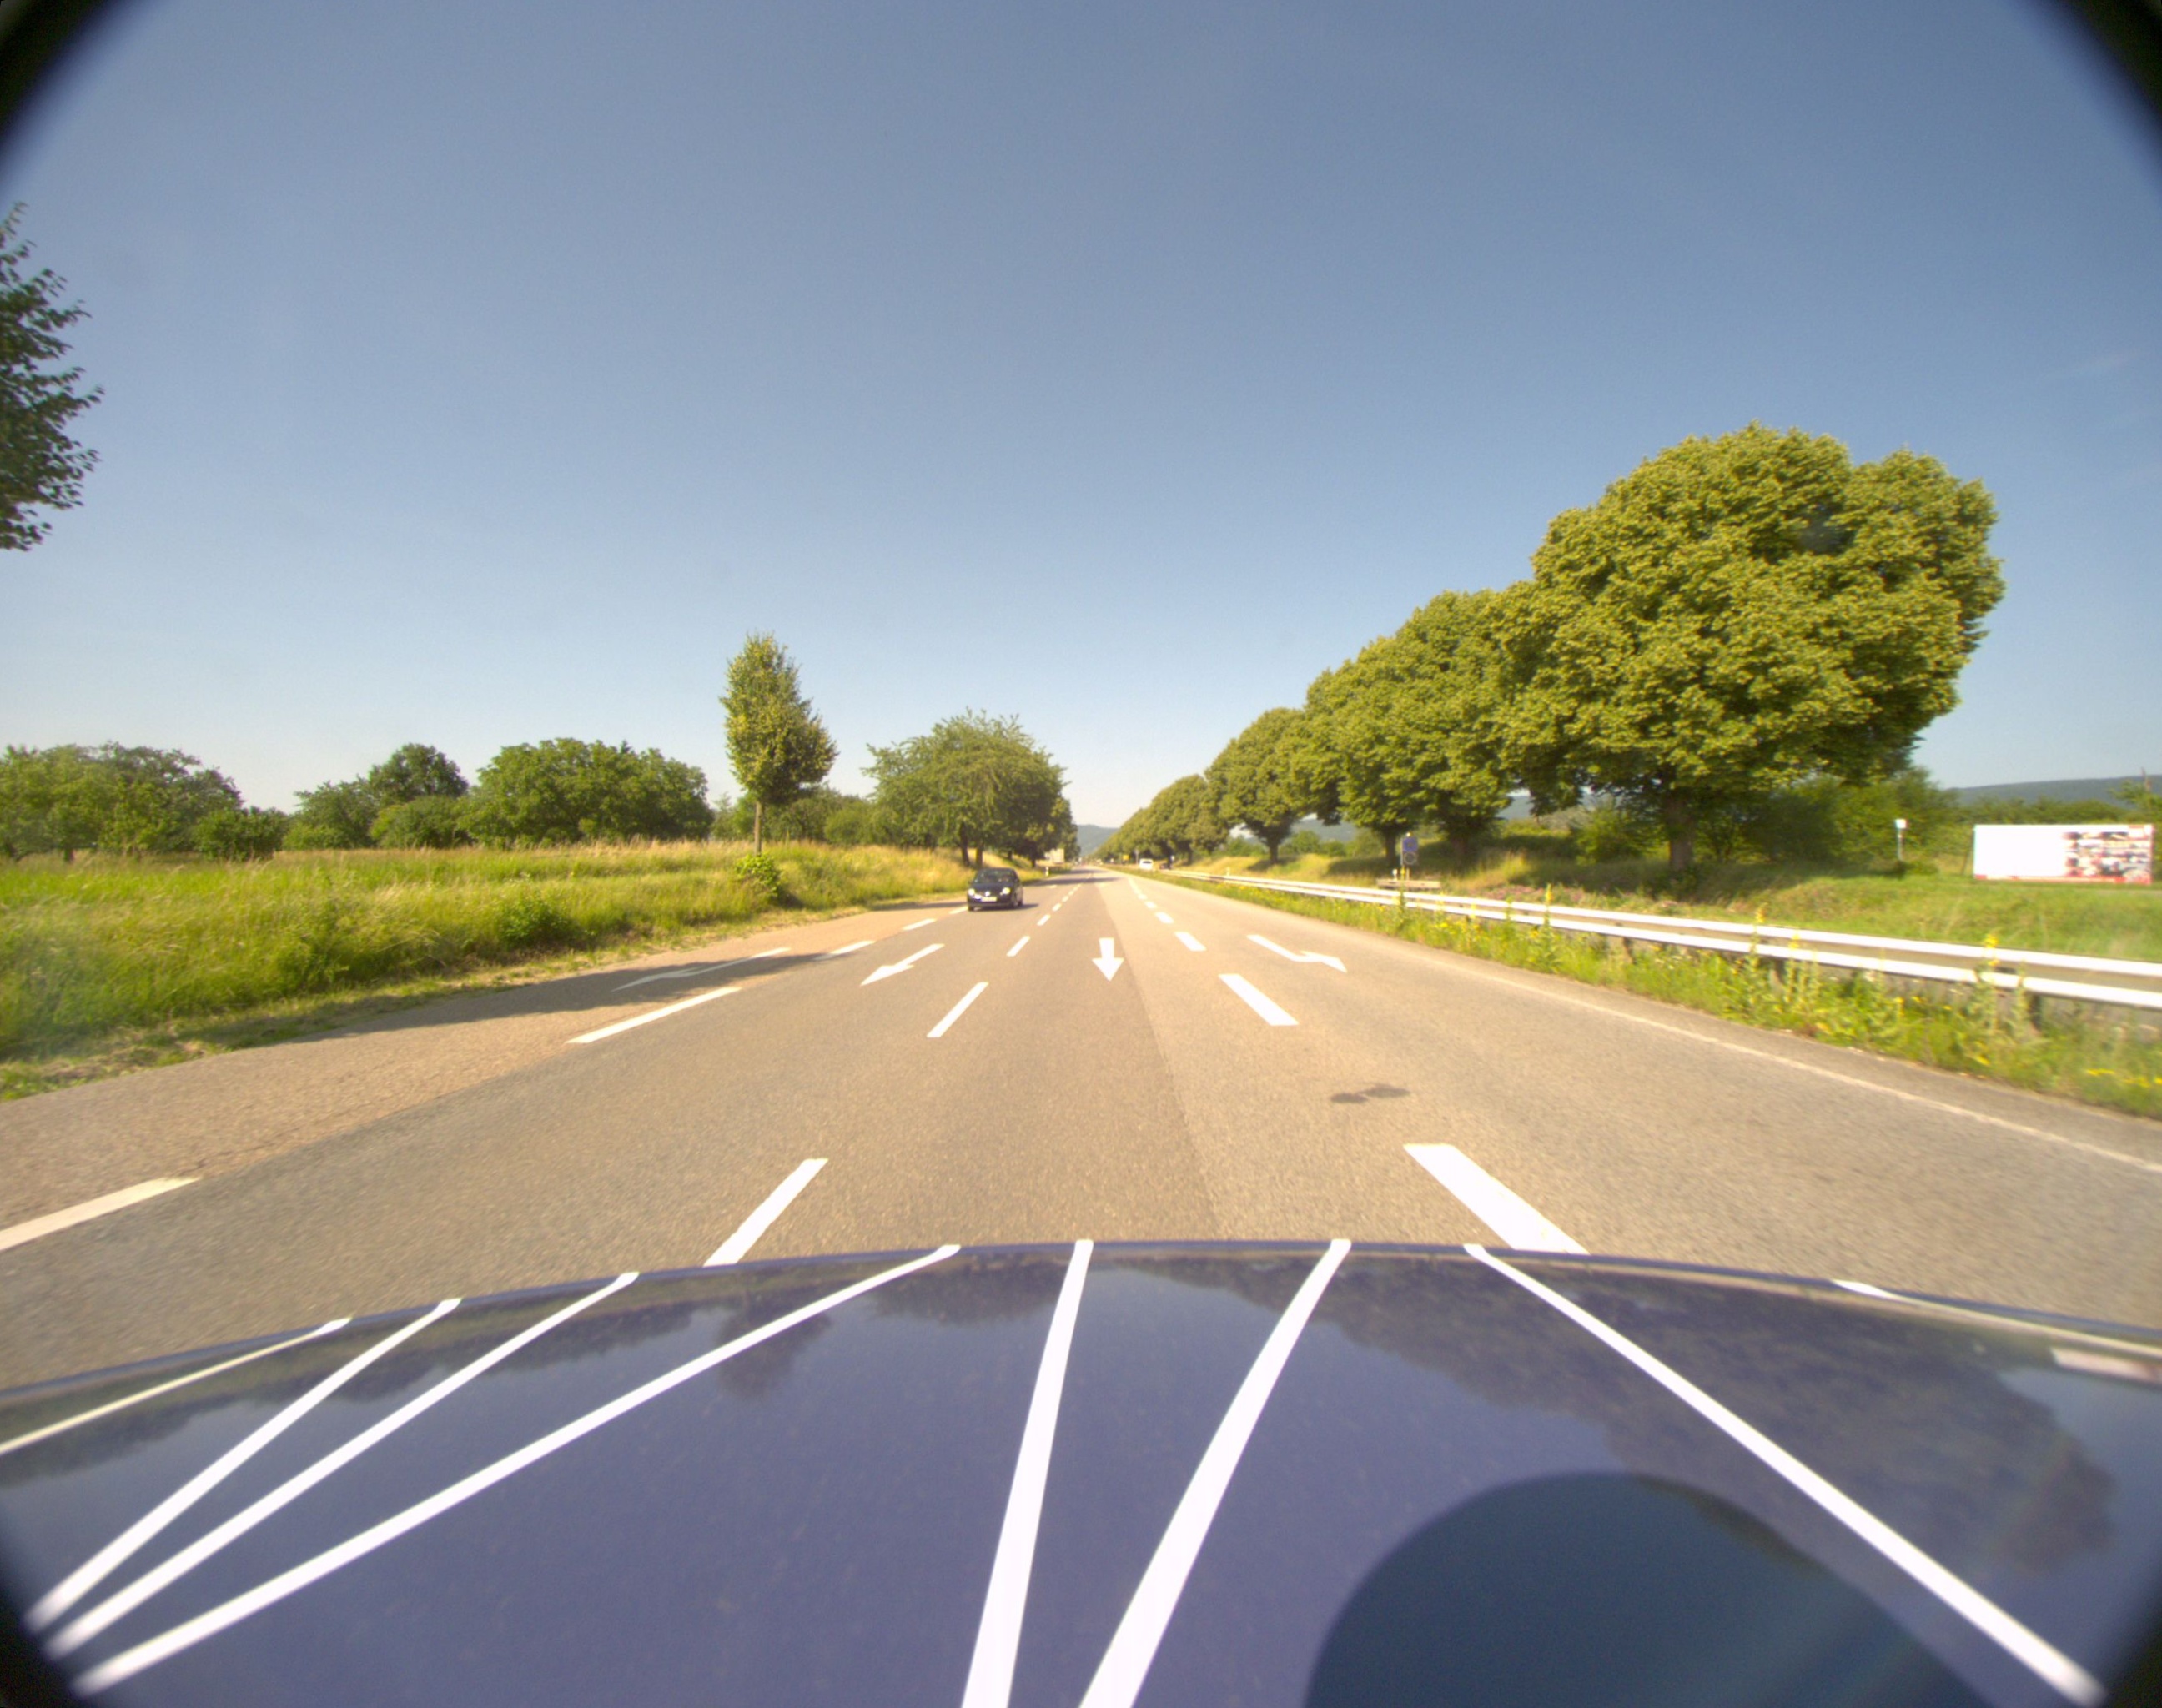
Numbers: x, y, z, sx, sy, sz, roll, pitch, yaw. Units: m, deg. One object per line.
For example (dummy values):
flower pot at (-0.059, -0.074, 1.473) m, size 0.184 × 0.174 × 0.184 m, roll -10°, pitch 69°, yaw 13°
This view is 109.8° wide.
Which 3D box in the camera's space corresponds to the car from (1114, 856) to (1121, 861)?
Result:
car at (10.307, 1.325, 214.489) m, size 1.933 × 1.521 × 4.000 m, roll 0°, pitch 0°, yaw 1°

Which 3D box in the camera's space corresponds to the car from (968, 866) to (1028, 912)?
car at (-2.843, 1.174, 26.690) m, size 1.629 × 1.425 × 3.623 m, roll -2°, pitch 0°, yaw 1°

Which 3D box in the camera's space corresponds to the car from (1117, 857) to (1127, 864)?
car at (9.361, 1.482, 172.087) m, size 1.933 × 1.521 × 3.999 m, roll 1°, pitch 0°, yaw -1°

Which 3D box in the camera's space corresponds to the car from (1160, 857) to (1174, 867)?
car at (13.474, 1.277, 119.462) m, size 1.726 × 1.456 × 3.700 m, roll 1°, pitch 0°, yaw 1°

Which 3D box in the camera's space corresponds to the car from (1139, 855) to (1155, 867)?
car at (9.624, 0.985, 110.655) m, size 1.998 × 1.791 × 4.000 m, roll 0°, pitch 0°, yaw 1°
